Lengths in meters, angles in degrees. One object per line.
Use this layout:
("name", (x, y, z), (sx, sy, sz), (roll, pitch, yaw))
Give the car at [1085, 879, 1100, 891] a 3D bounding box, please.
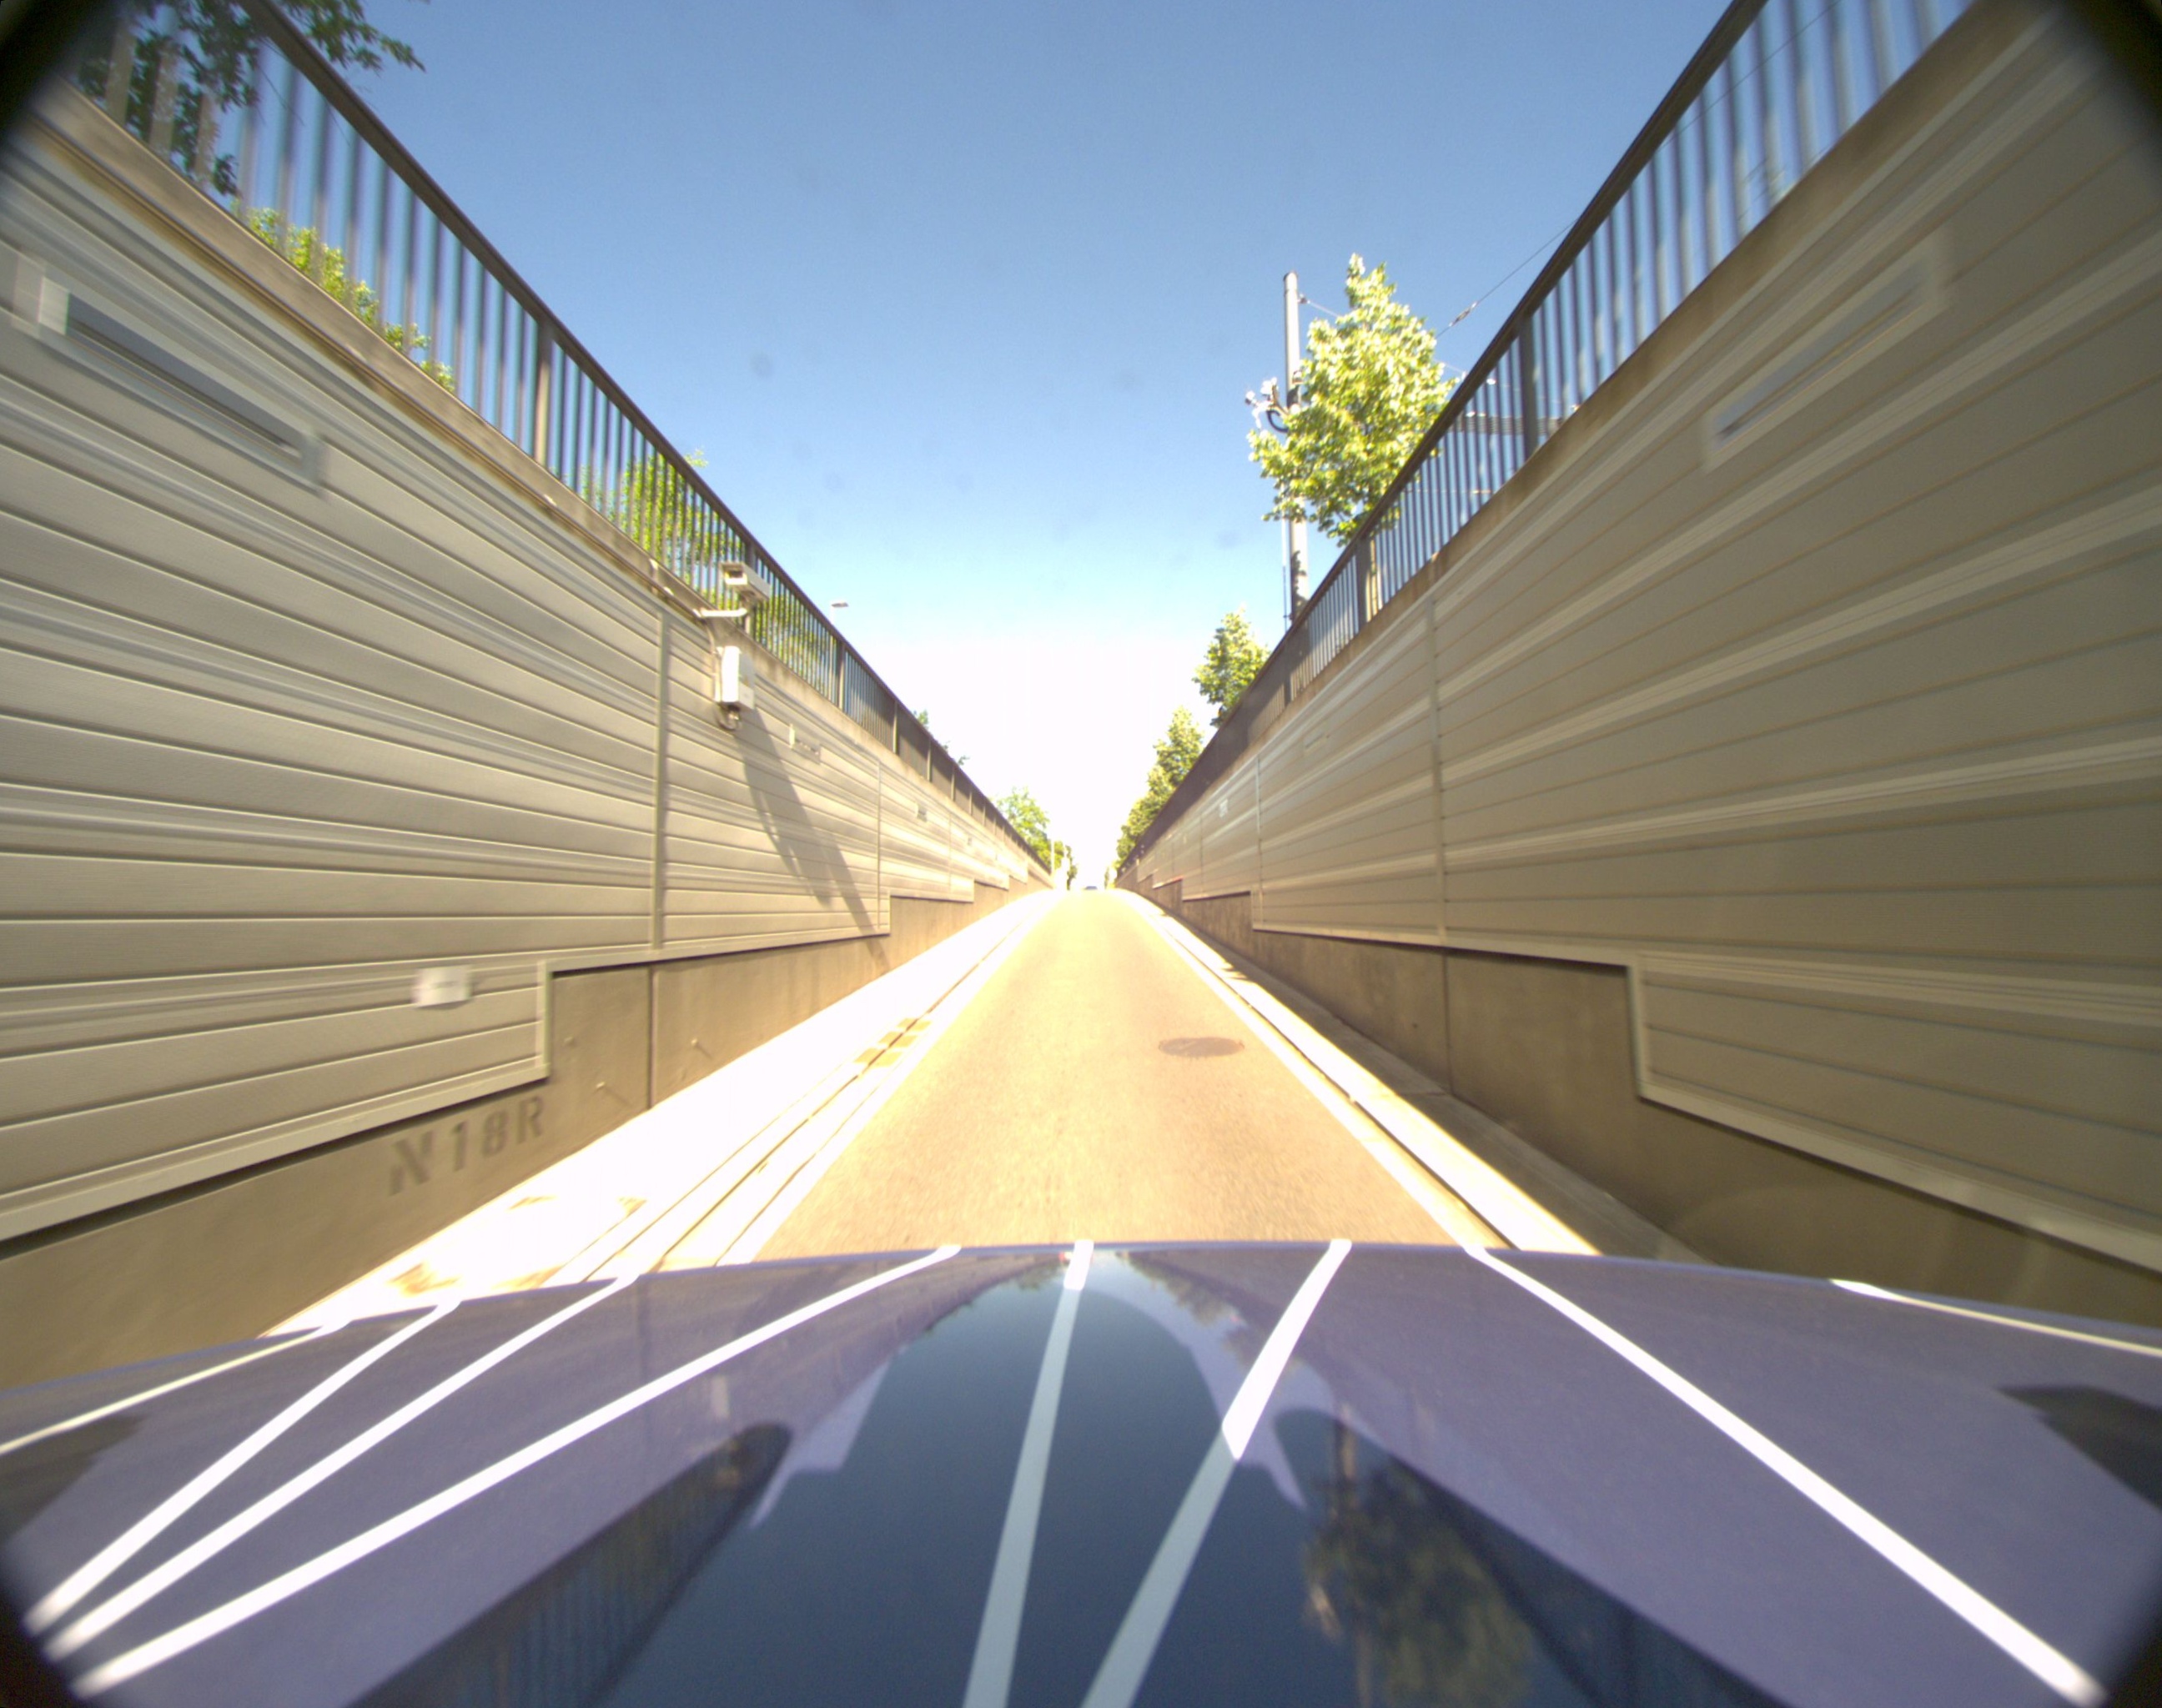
("car", (1.446, 3.893, 94.068), (1.829, 1.327, 4.003), (-1, -4, 1))
